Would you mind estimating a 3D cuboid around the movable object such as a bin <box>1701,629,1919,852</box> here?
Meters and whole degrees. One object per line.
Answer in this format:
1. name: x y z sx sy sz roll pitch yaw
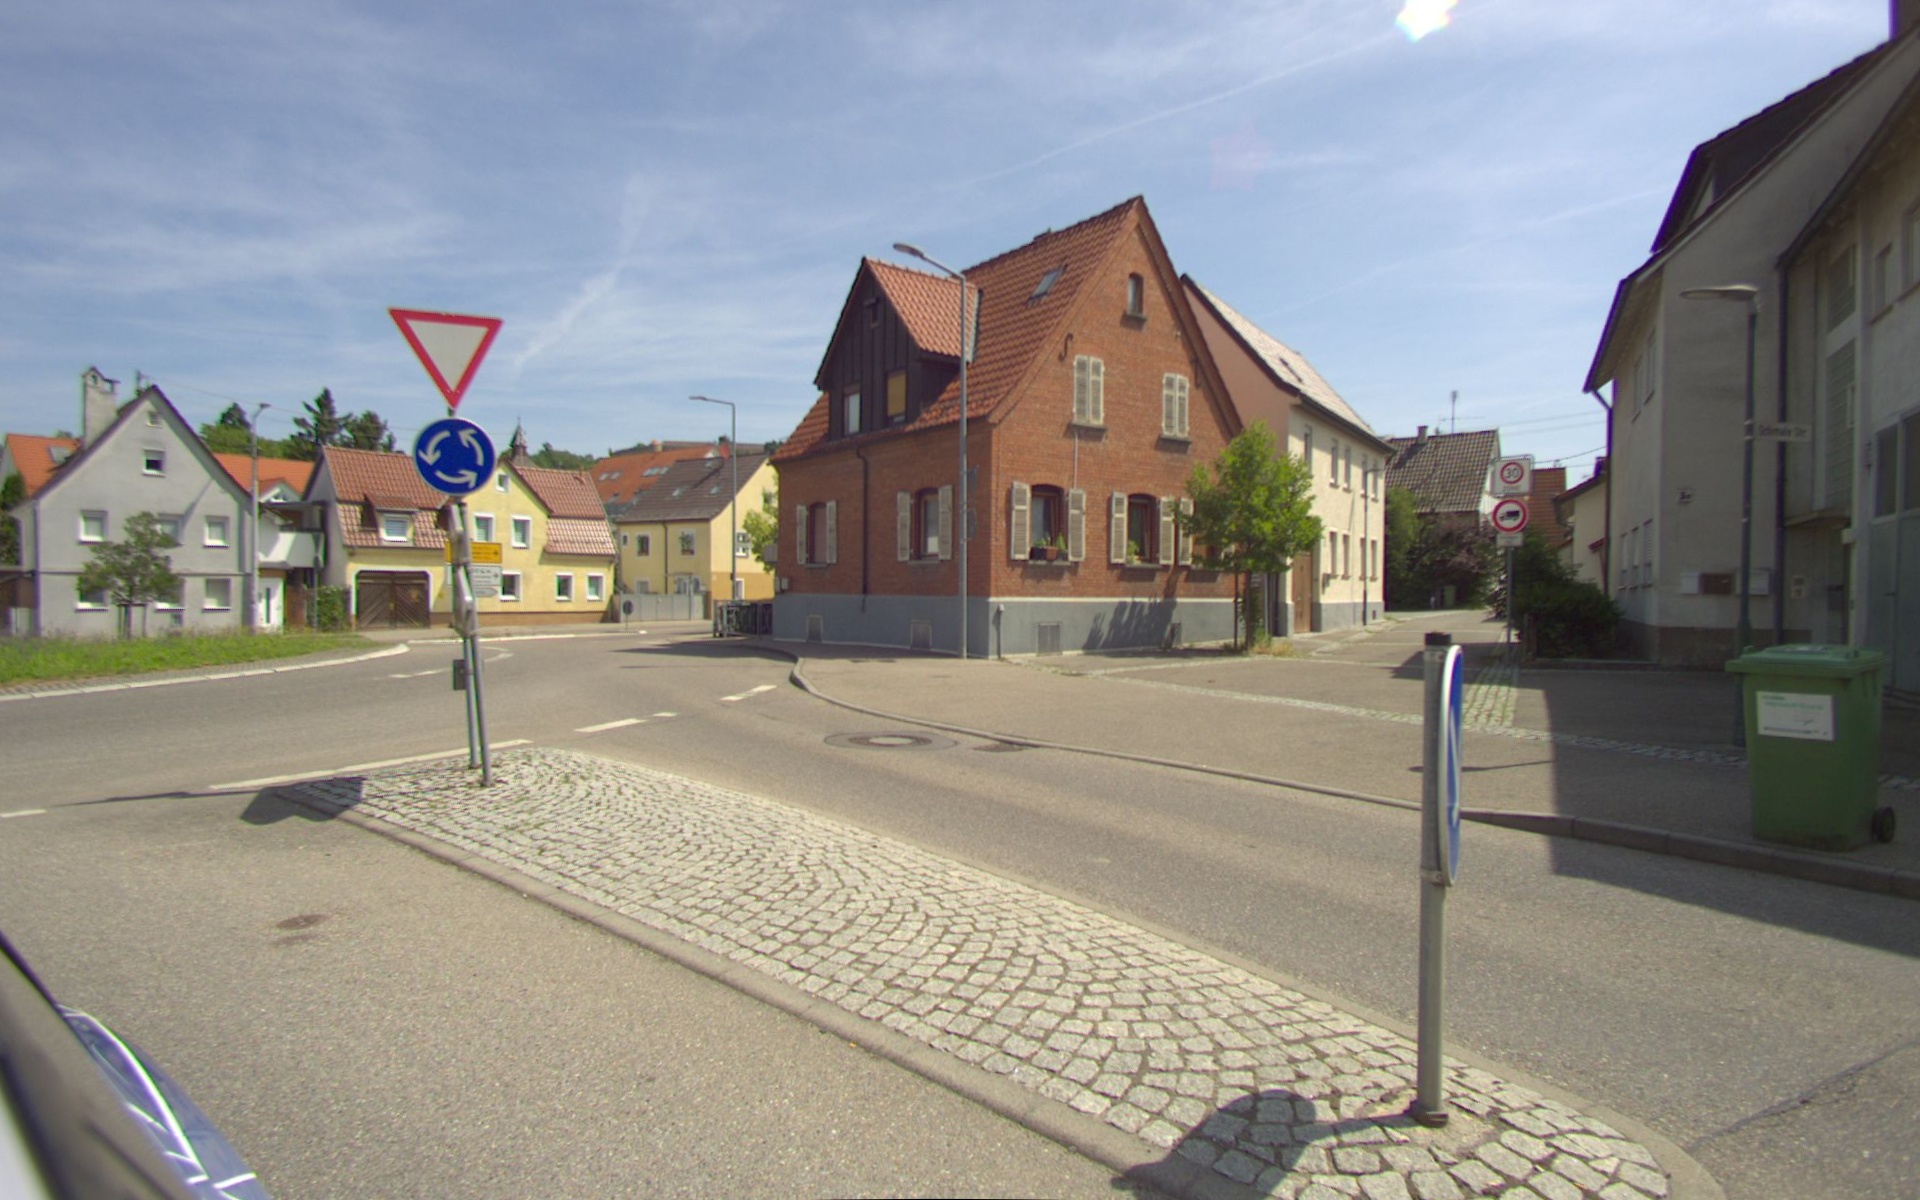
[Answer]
1. movable object such as a bin: 4.726 0.701 5.502 0.797 1.053 0.829 -1 0 -26
